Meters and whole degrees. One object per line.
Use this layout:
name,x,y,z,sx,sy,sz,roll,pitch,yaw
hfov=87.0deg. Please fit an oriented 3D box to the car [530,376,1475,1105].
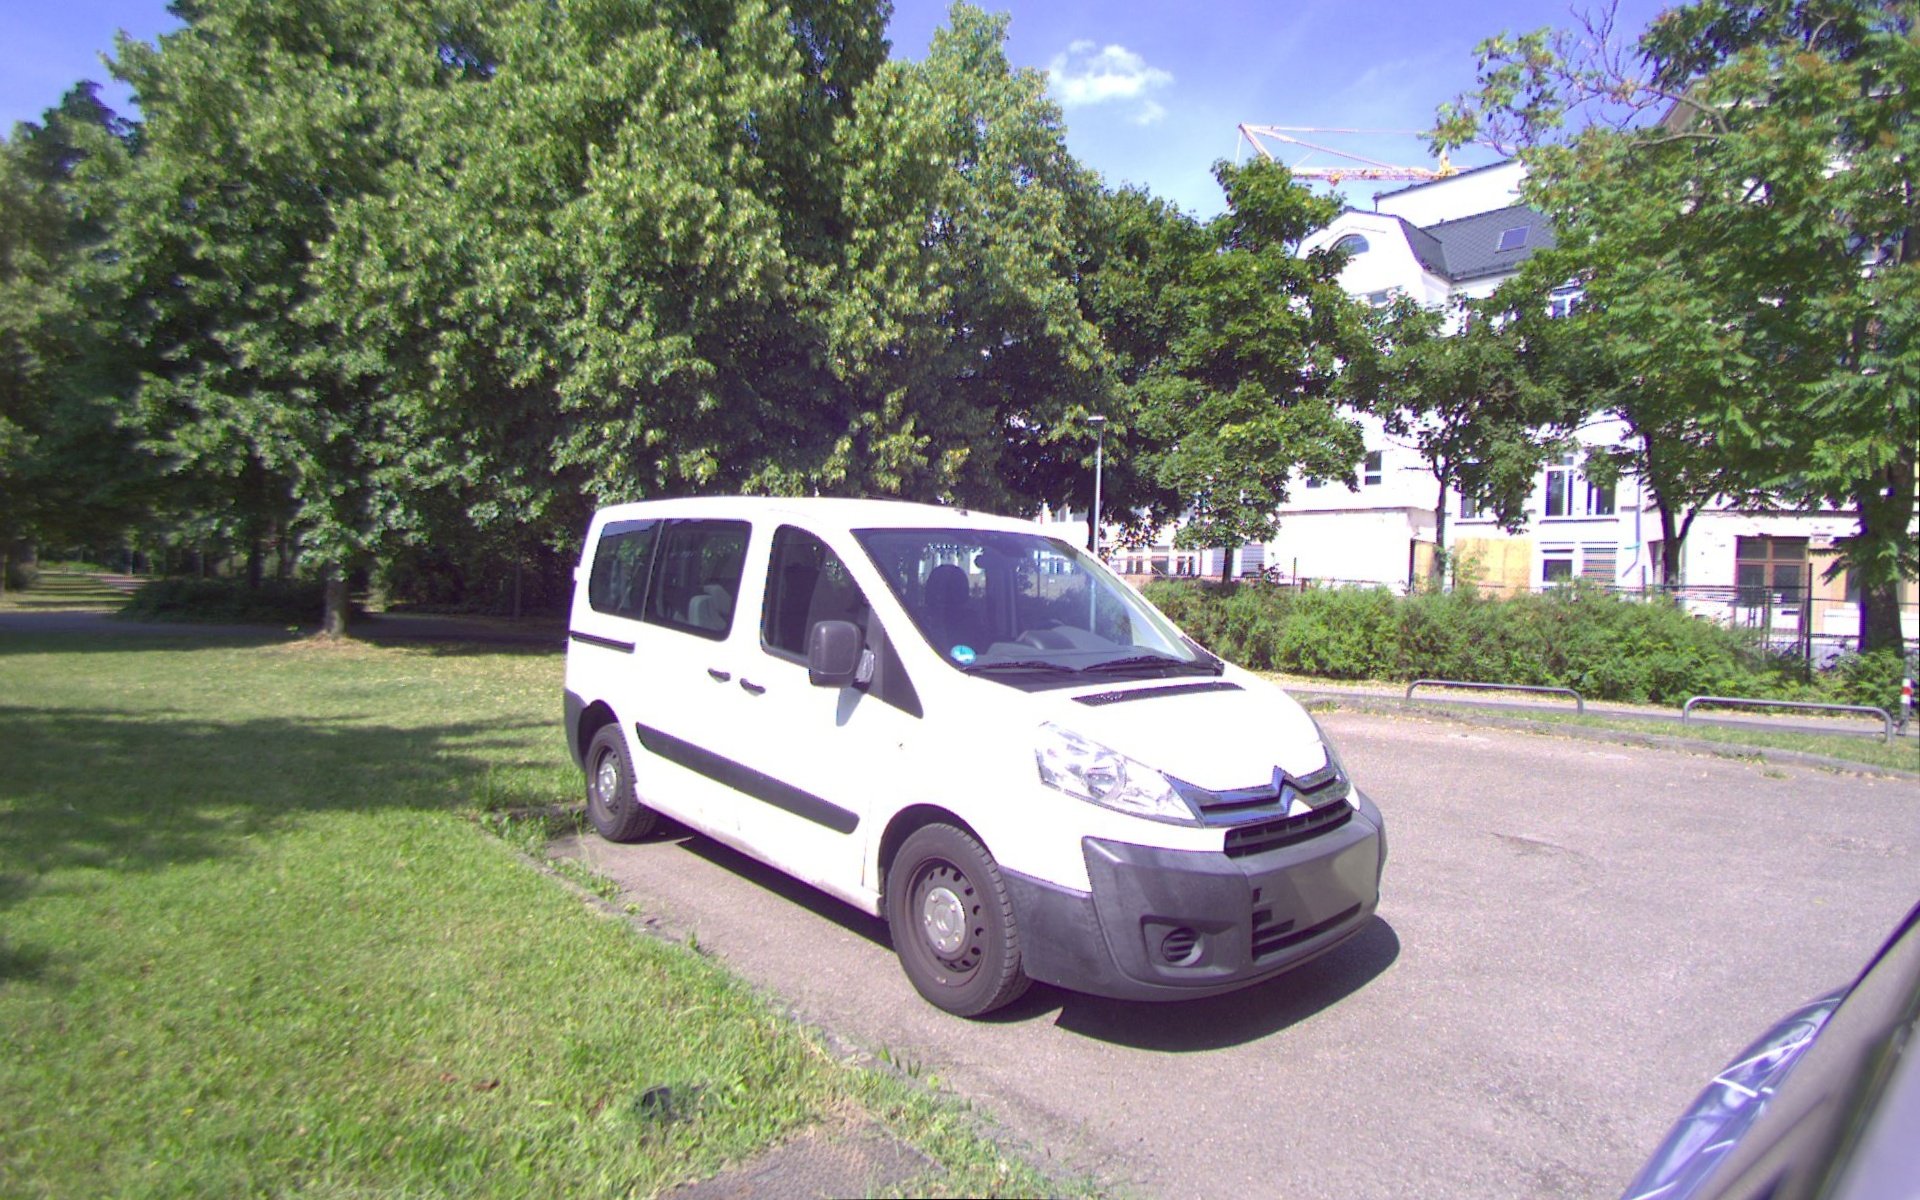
car,-0.361,0.316,5.274,1.965,1.957,5.033,2,1,-41
